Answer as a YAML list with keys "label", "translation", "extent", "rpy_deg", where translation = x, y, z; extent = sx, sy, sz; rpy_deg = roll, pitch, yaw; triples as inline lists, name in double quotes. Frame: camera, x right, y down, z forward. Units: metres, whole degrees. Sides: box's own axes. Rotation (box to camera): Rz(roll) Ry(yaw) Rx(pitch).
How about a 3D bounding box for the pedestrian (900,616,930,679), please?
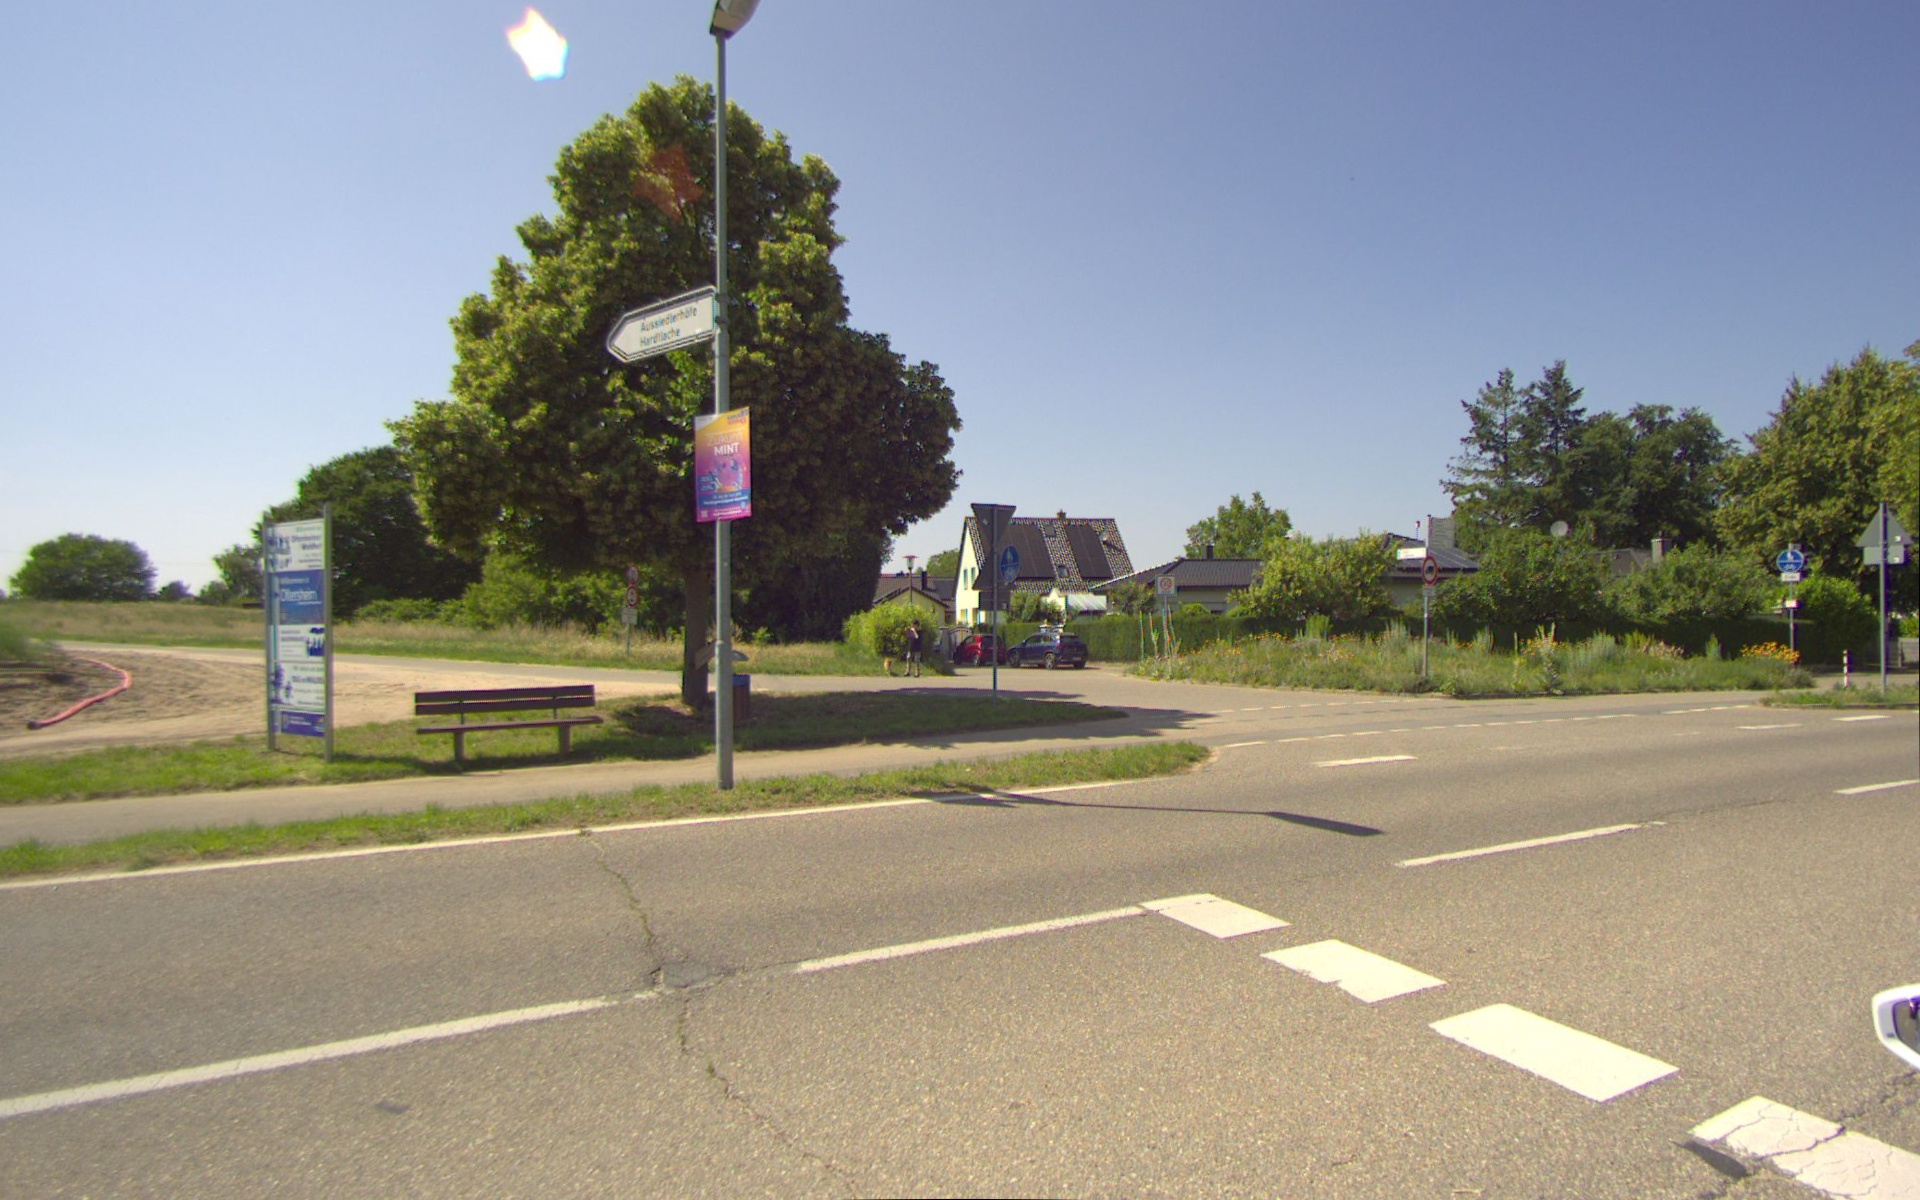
- label: "pedestrian"
  translation: [-1.268, 1.330, 28.425]
  extent: [0.540, 1.739, 0.675]
  rpy_deg: [0, -1, 28]

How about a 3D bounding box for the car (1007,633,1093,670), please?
- label: "car"
  translation: [3.974, 2.266, 44.879]
  extent: [1.860, 1.539, 3.968]
  rpy_deg: [-1, -2, -31]

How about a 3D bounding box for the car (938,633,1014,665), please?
- label: "car"
  translation: [0.756, 2.434, 50.167]
  extent: [1.978, 1.539, 3.966]
  rpy_deg: [1, -3, -32]

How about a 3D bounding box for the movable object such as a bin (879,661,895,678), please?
- label: "movable object such as a bin"
  translation: [-2.060, 1.965, 28.430]
  extent: [0.313, 0.416, 0.765]
  rpy_deg: [1, -1, 8]

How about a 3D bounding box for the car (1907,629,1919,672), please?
- label: "car"
  translation: [36.862, 1.885, 36.853]
  extent: [3.944, 1.550, 1.684]
  rpy_deg: [1, -1, -24]
